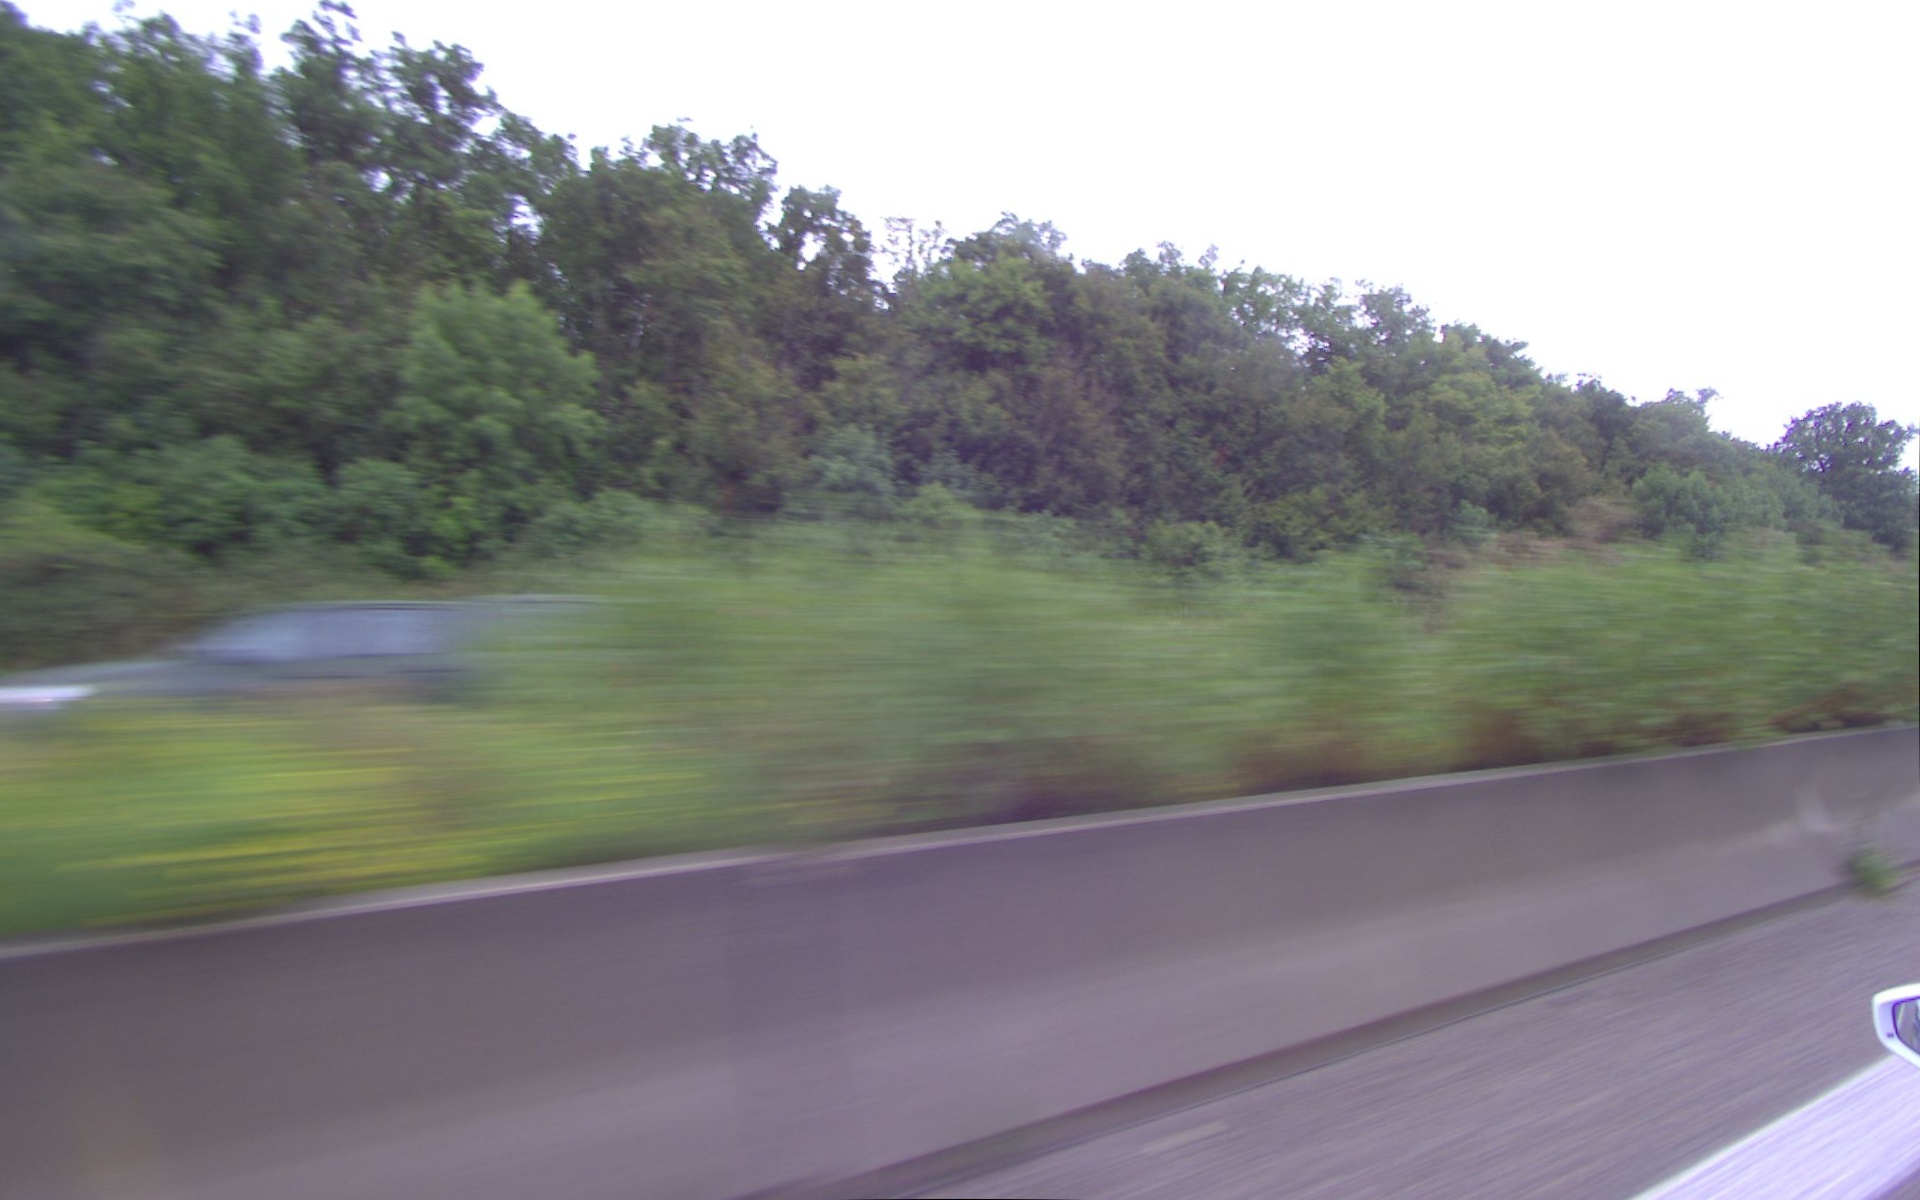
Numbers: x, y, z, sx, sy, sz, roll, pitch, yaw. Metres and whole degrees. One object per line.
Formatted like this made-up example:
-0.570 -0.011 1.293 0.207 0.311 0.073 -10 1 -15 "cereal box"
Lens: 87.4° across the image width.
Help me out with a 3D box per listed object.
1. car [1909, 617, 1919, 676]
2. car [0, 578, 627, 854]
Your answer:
31.340 1.432 30.878 3.949 1.795 1.986 1 -1 -27 "car"
-5.774 0.901 9.457 4.698 2.040 1.982 1 -1 -32 "car"
